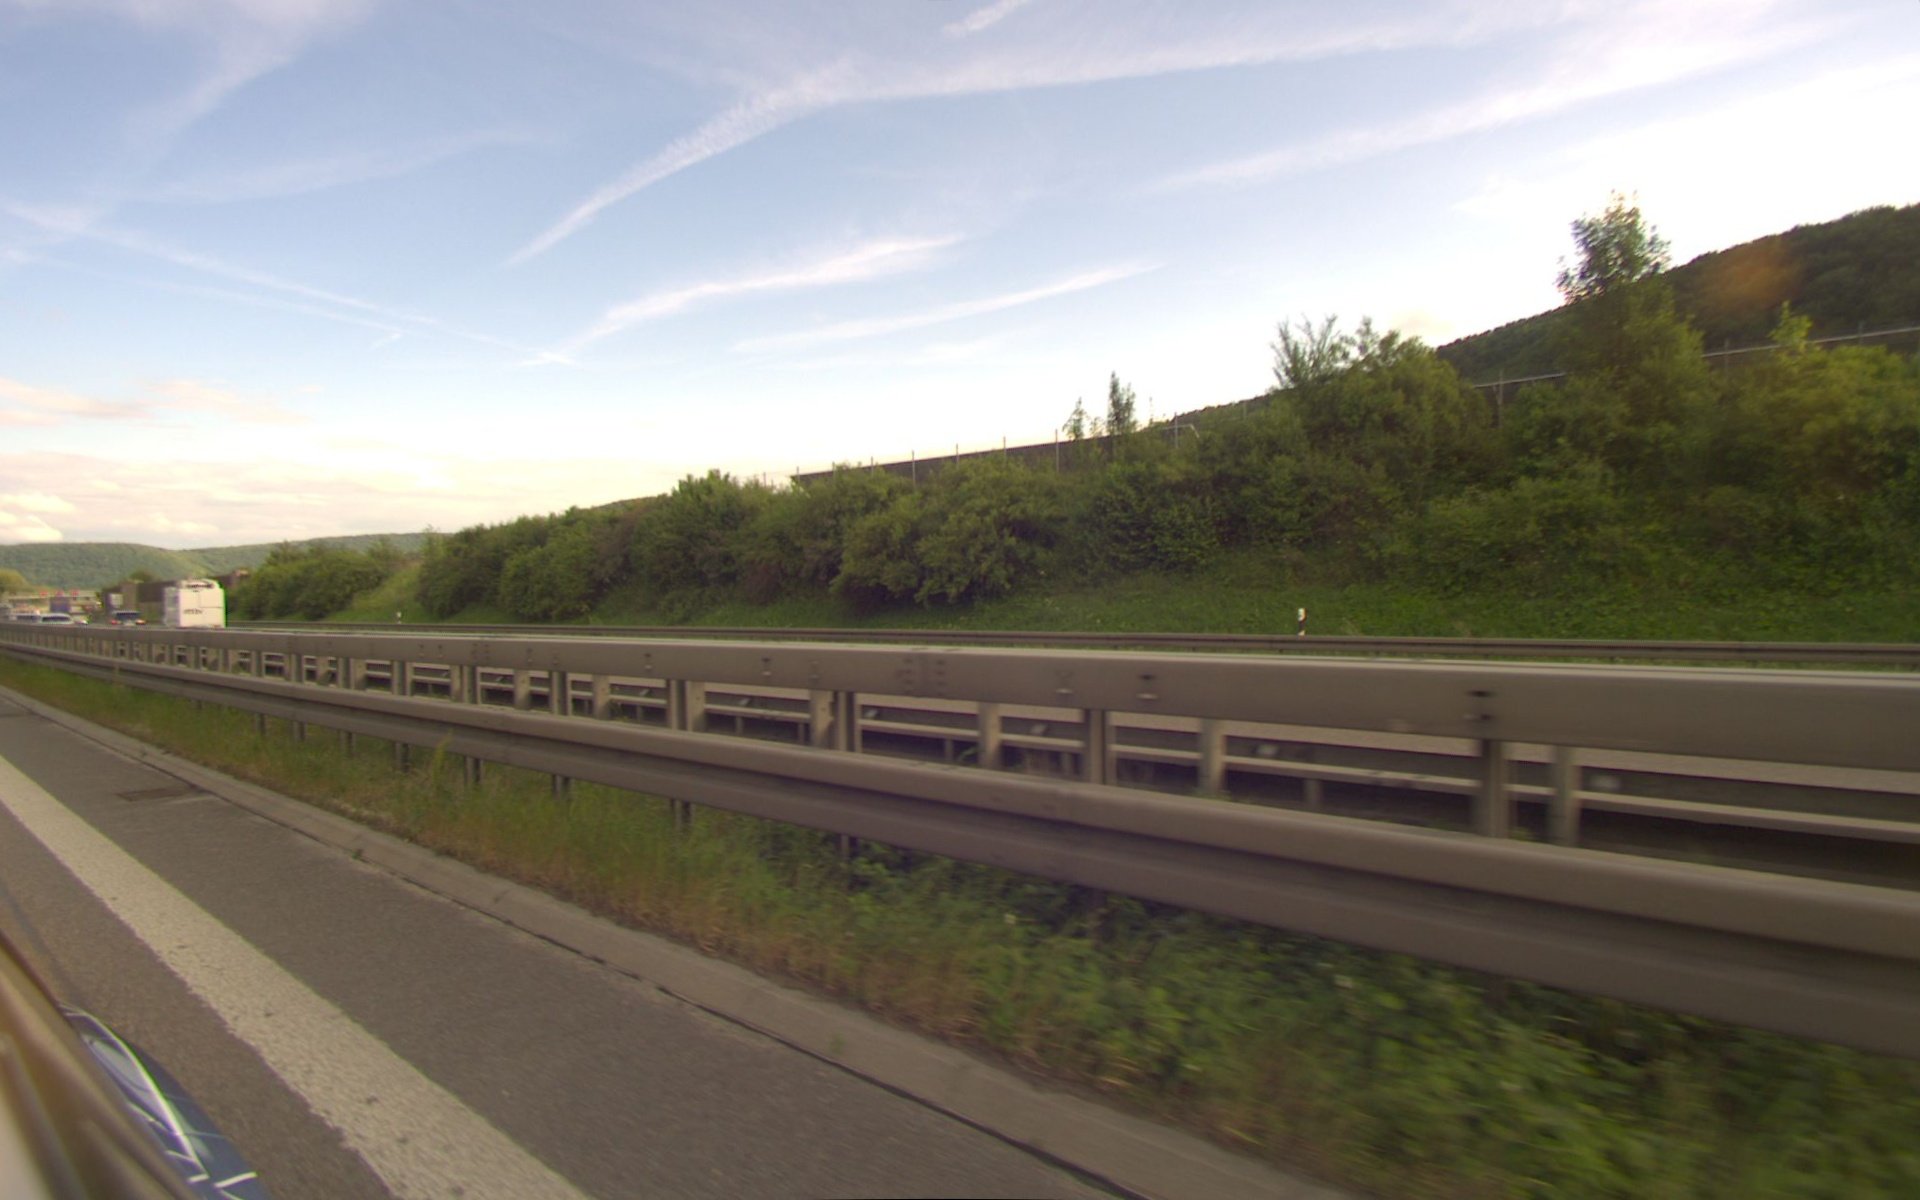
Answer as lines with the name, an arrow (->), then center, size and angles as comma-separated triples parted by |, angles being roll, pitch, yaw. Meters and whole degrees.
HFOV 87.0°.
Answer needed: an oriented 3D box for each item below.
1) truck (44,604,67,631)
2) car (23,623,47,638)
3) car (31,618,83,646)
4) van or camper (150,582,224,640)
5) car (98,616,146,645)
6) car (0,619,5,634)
truck -> -149.017, 2.929, 166.779 | 2.618, 4.311, 14.698 | 0, -1, -41
car -> -99.575, 3.286, 108.901 | 4.346, 1.446, 1.625 | -1, 0, 44
car -> -48.094, 1.691, 53.871 | 3.763, 1.420, 1.760 | -1, -1, 43
van or camper -> -50.360, 0.737, 65.851 | 7.975, 3.578, 2.455 | -1, -1, 42
car -> -50.147, 1.804, 60.541 | 4.344, 1.669, 1.626 | -1, -1, 42
car -> -124.808, 3.448, 130.727 | 4.346, 1.906, 1.908 | -1, -1, 44
